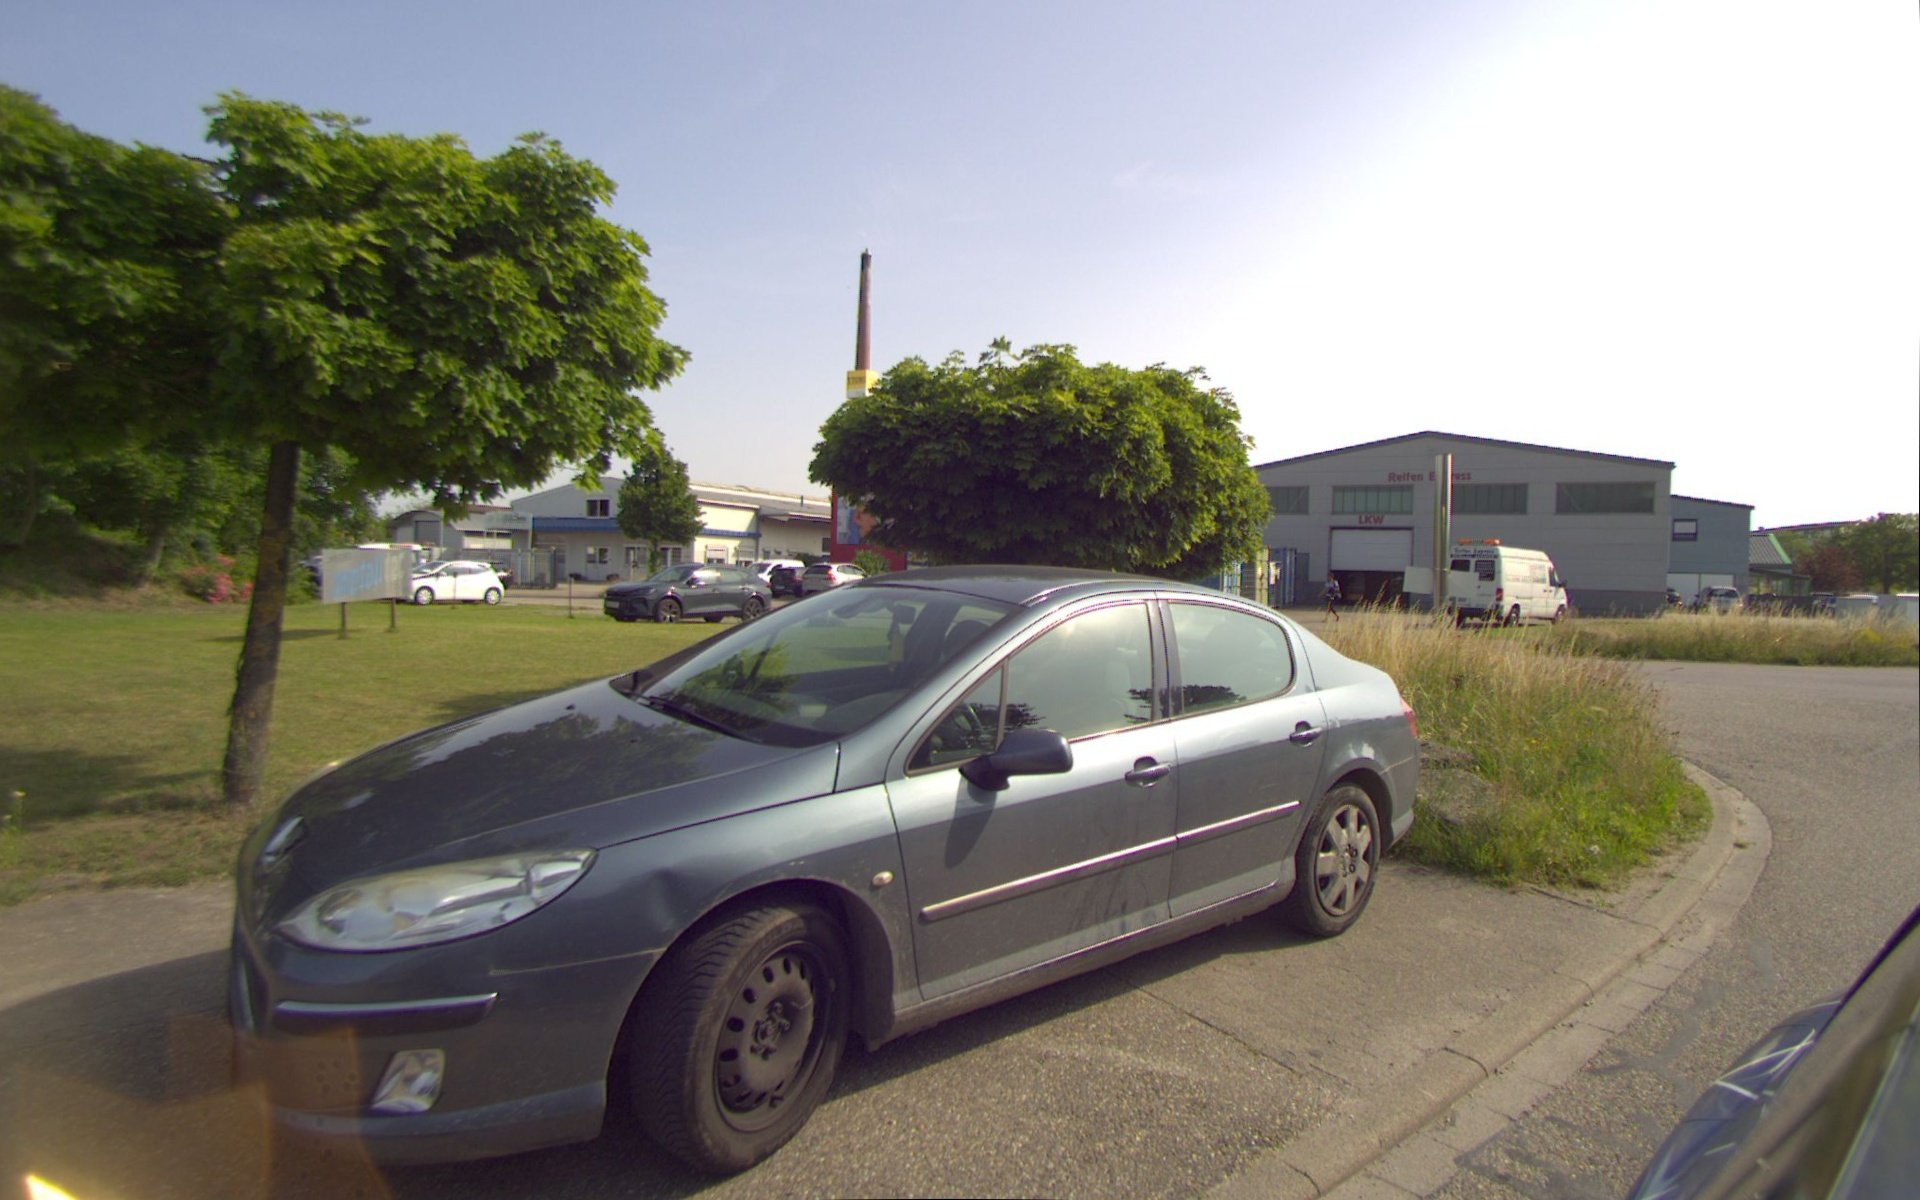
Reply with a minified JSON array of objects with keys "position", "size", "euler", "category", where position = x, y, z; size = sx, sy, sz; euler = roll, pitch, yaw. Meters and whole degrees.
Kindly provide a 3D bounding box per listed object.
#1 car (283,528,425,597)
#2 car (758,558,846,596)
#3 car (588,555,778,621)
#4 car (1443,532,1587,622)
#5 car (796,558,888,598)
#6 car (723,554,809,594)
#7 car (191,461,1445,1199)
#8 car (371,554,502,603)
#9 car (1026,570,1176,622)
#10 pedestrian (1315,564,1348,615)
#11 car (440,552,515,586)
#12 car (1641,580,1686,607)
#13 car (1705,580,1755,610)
[{"position":[-20.404,-1.229,34.192],"size":[1.673,1.981,3.665],"euler":[4,-1,32],"category":"car"},{"position":[-7.198,-1.060,46.435],"size":[1.772,1.653,4.162],"euler":[3,2,30],"category":"car"},{"position":[-6.648,-0.312,24.714],"size":[1.777,1.426,4.289],"euler":[3,2,37],"category":"car"},{"position":[18.274,-0.735,33.220],"size":[5.773,2.739,1.980],"euler":[0,2,-38],"category":"car"},{"position":[-5.190,-1.005,45.099],"size":[1.772,1.653,4.419],"euler":[3,2,30],"category":"car"},{"position":[-9.216,-1.245,48.356],"size":[1.701,1.819,4.163],"euler":[3,2,30],"category":"car"},{"position":[-0.102,0.494,3.788],"size":[4.345,1.536,1.798],"euler":[0,3,-40],"category":"car"},{"position":[-16.870,-0.730,32.737],"size":[1.551,1.468,3.480],"euler":[2,3,32],"category":"car"},{"position":[4.389,-0.169,31.921],"size":[4.454,1.426,1.785],"euler":[3,3,41],"category":"car"},{"position":[12.508,-0.360,34.053],"size":[0.735,1.660,0.705],"euler":[0,1,-36],"category":"pedestrian"},{"position":[-24.153,-1.551,50.629],"size":[3.564,1.540,1.813],"euler":[3,2,33],"category":"car"},{"position":[39.867,-0.375,57.418],"size":[1.667,1.420,3.674],"euler":[2,2,29],"category":"car"},{"position":[42.764,-0.297,56.282],"size":[1.625,1.587,3.767],"euler":[2,2,29],"category":"car"}]
